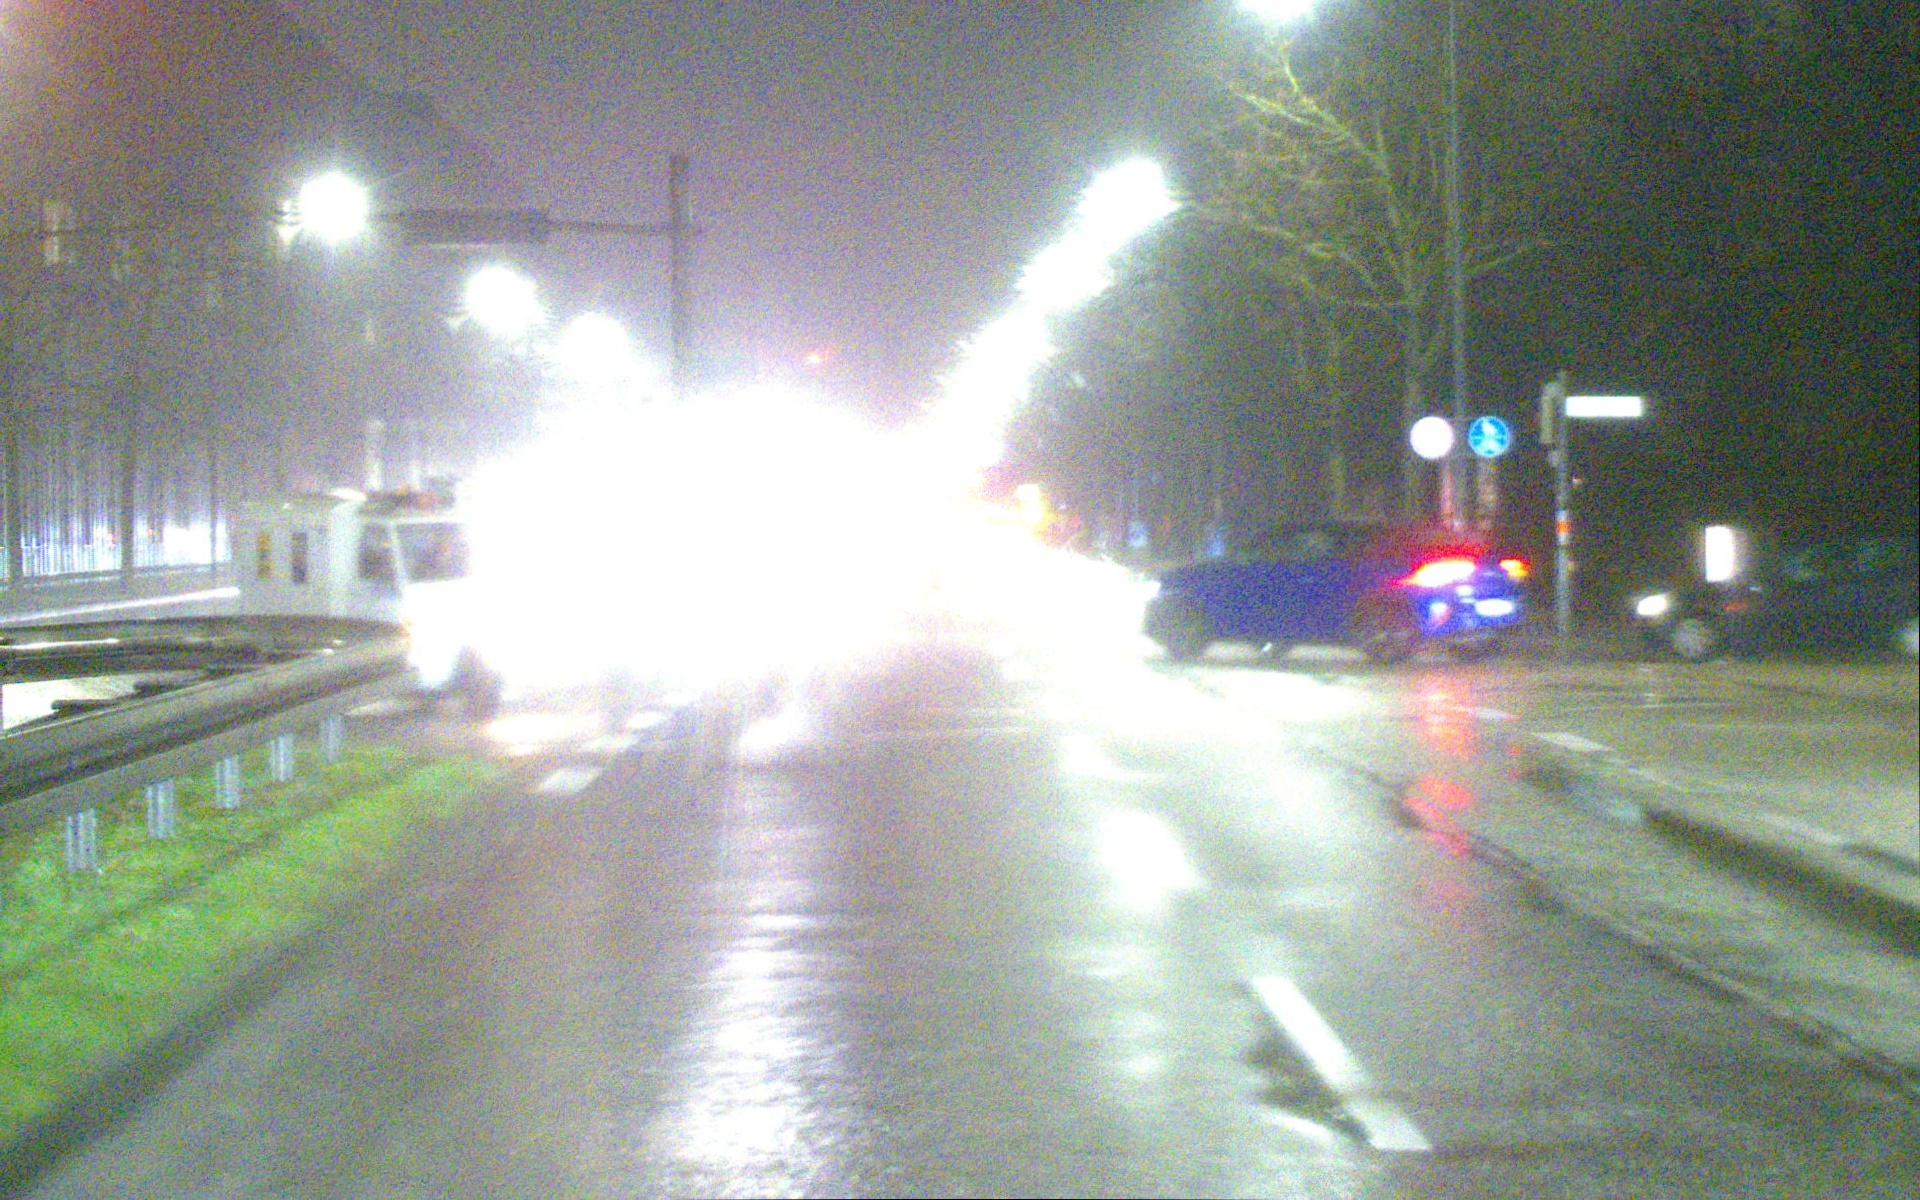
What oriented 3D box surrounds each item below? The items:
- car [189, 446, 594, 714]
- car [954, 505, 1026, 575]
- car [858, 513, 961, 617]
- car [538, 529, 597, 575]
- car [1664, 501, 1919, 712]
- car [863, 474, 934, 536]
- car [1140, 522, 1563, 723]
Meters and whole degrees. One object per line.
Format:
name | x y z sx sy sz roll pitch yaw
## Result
car | -4.628 -0.168 27.671 1.699 2.007 3.567 0 0 -38
car | 0.901 -1.737 100.915 2.038 2.007 4.307 0 0 1
car | -1.010 -0.717 71.040 2.038 2.075 4.307 0 0 0
car | -15.264 -1.866 133.796 1.750 1.703 4.499 -2 1 0
car | 9.752 0.055 37.375 3.636 2.207 2.212 0 0 27
car | -2.336 -3.529 128.506 2.441 2.186 5.079 0 0 -3
car | 4.107 0.209 36.303 3.996 2.007 1.995 1 0 39
